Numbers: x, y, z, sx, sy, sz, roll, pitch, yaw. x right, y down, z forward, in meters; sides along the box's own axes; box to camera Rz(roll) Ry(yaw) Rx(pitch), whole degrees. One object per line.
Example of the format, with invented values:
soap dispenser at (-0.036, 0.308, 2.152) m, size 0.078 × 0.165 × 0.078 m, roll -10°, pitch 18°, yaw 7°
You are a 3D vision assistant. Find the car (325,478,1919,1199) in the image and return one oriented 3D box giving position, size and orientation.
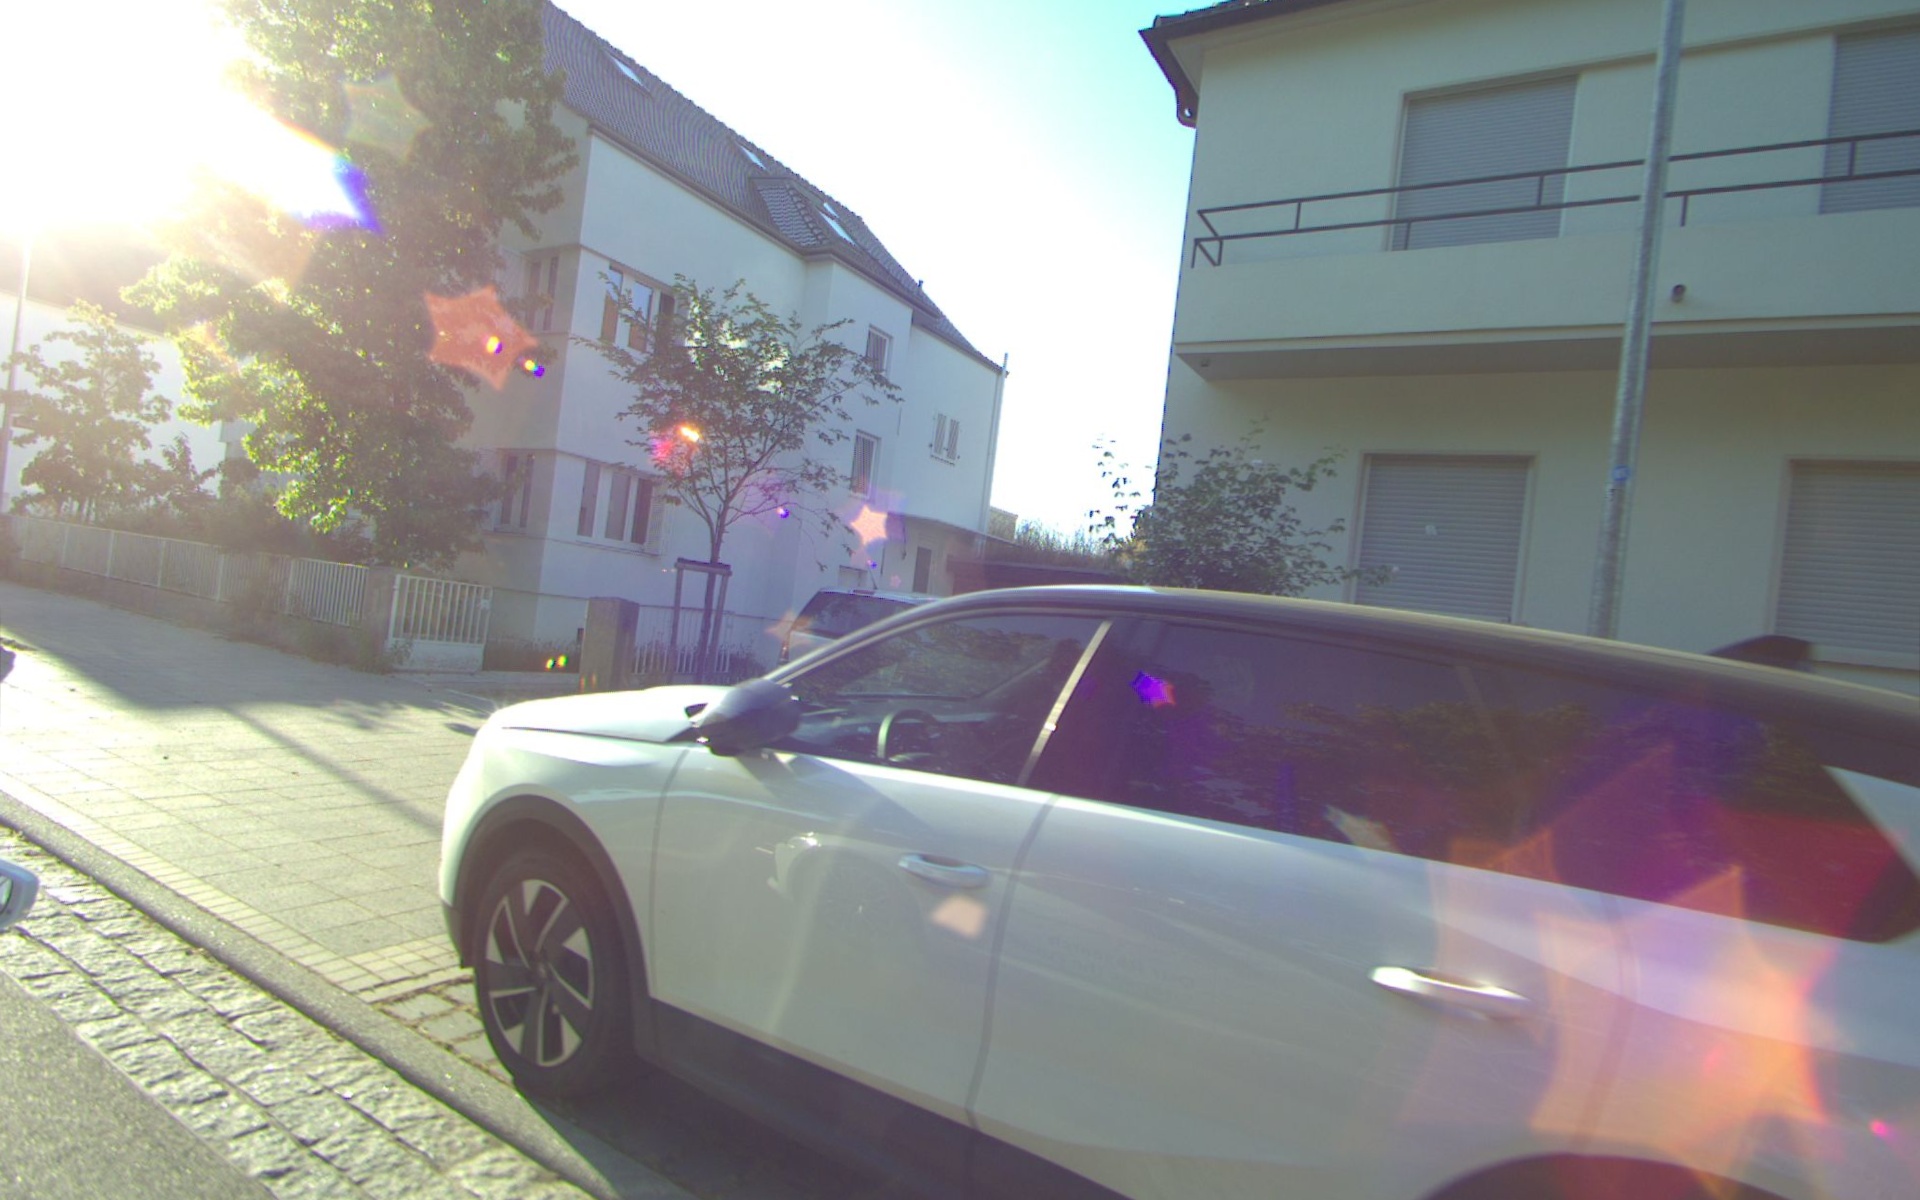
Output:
car at (0.320, 0.725, 2.950) m, size 4.501 × 1.730 × 1.906 m, roll 7°, pitch 0°, yaw 33°

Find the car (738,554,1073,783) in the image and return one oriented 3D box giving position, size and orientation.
car at (-0.368, 0.817, 11.119) m, size 1.783 × 1.865 × 3.998 m, roll 8°, pitch -3°, yaw 26°

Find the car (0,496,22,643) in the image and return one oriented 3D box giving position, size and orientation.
car at (-11.987, -0.559, 10.800) m, size 4.056 × 1.501 × 1.795 m, roll 7°, pitch 1°, yaw 33°
